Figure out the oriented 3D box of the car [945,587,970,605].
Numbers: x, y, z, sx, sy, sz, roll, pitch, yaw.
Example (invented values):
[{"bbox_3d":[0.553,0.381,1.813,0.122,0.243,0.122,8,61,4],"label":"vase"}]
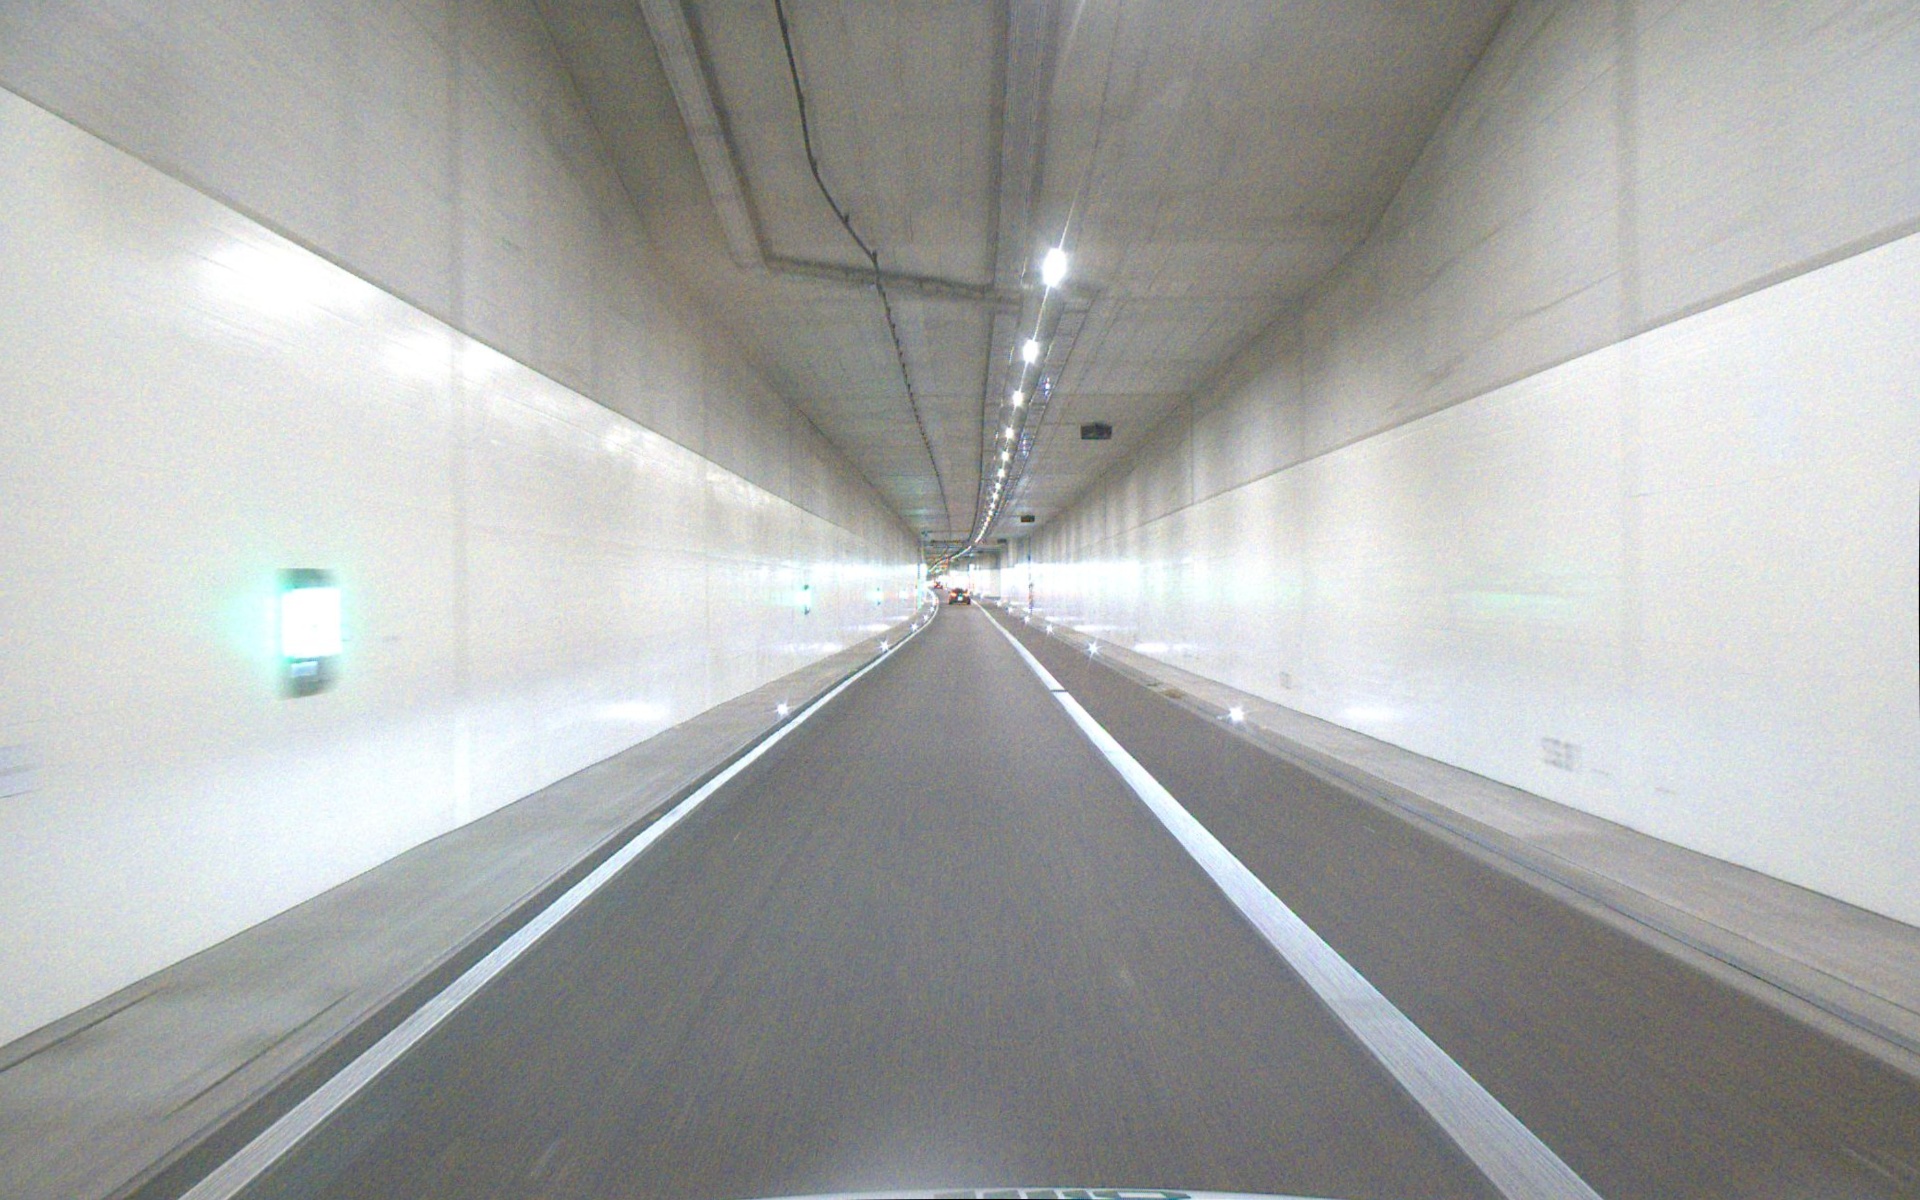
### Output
[{"bbox_3d":[-0.223,-0.337,141.363,1.954,1.445,3.998,3,0,-2],"label":"car"}]
